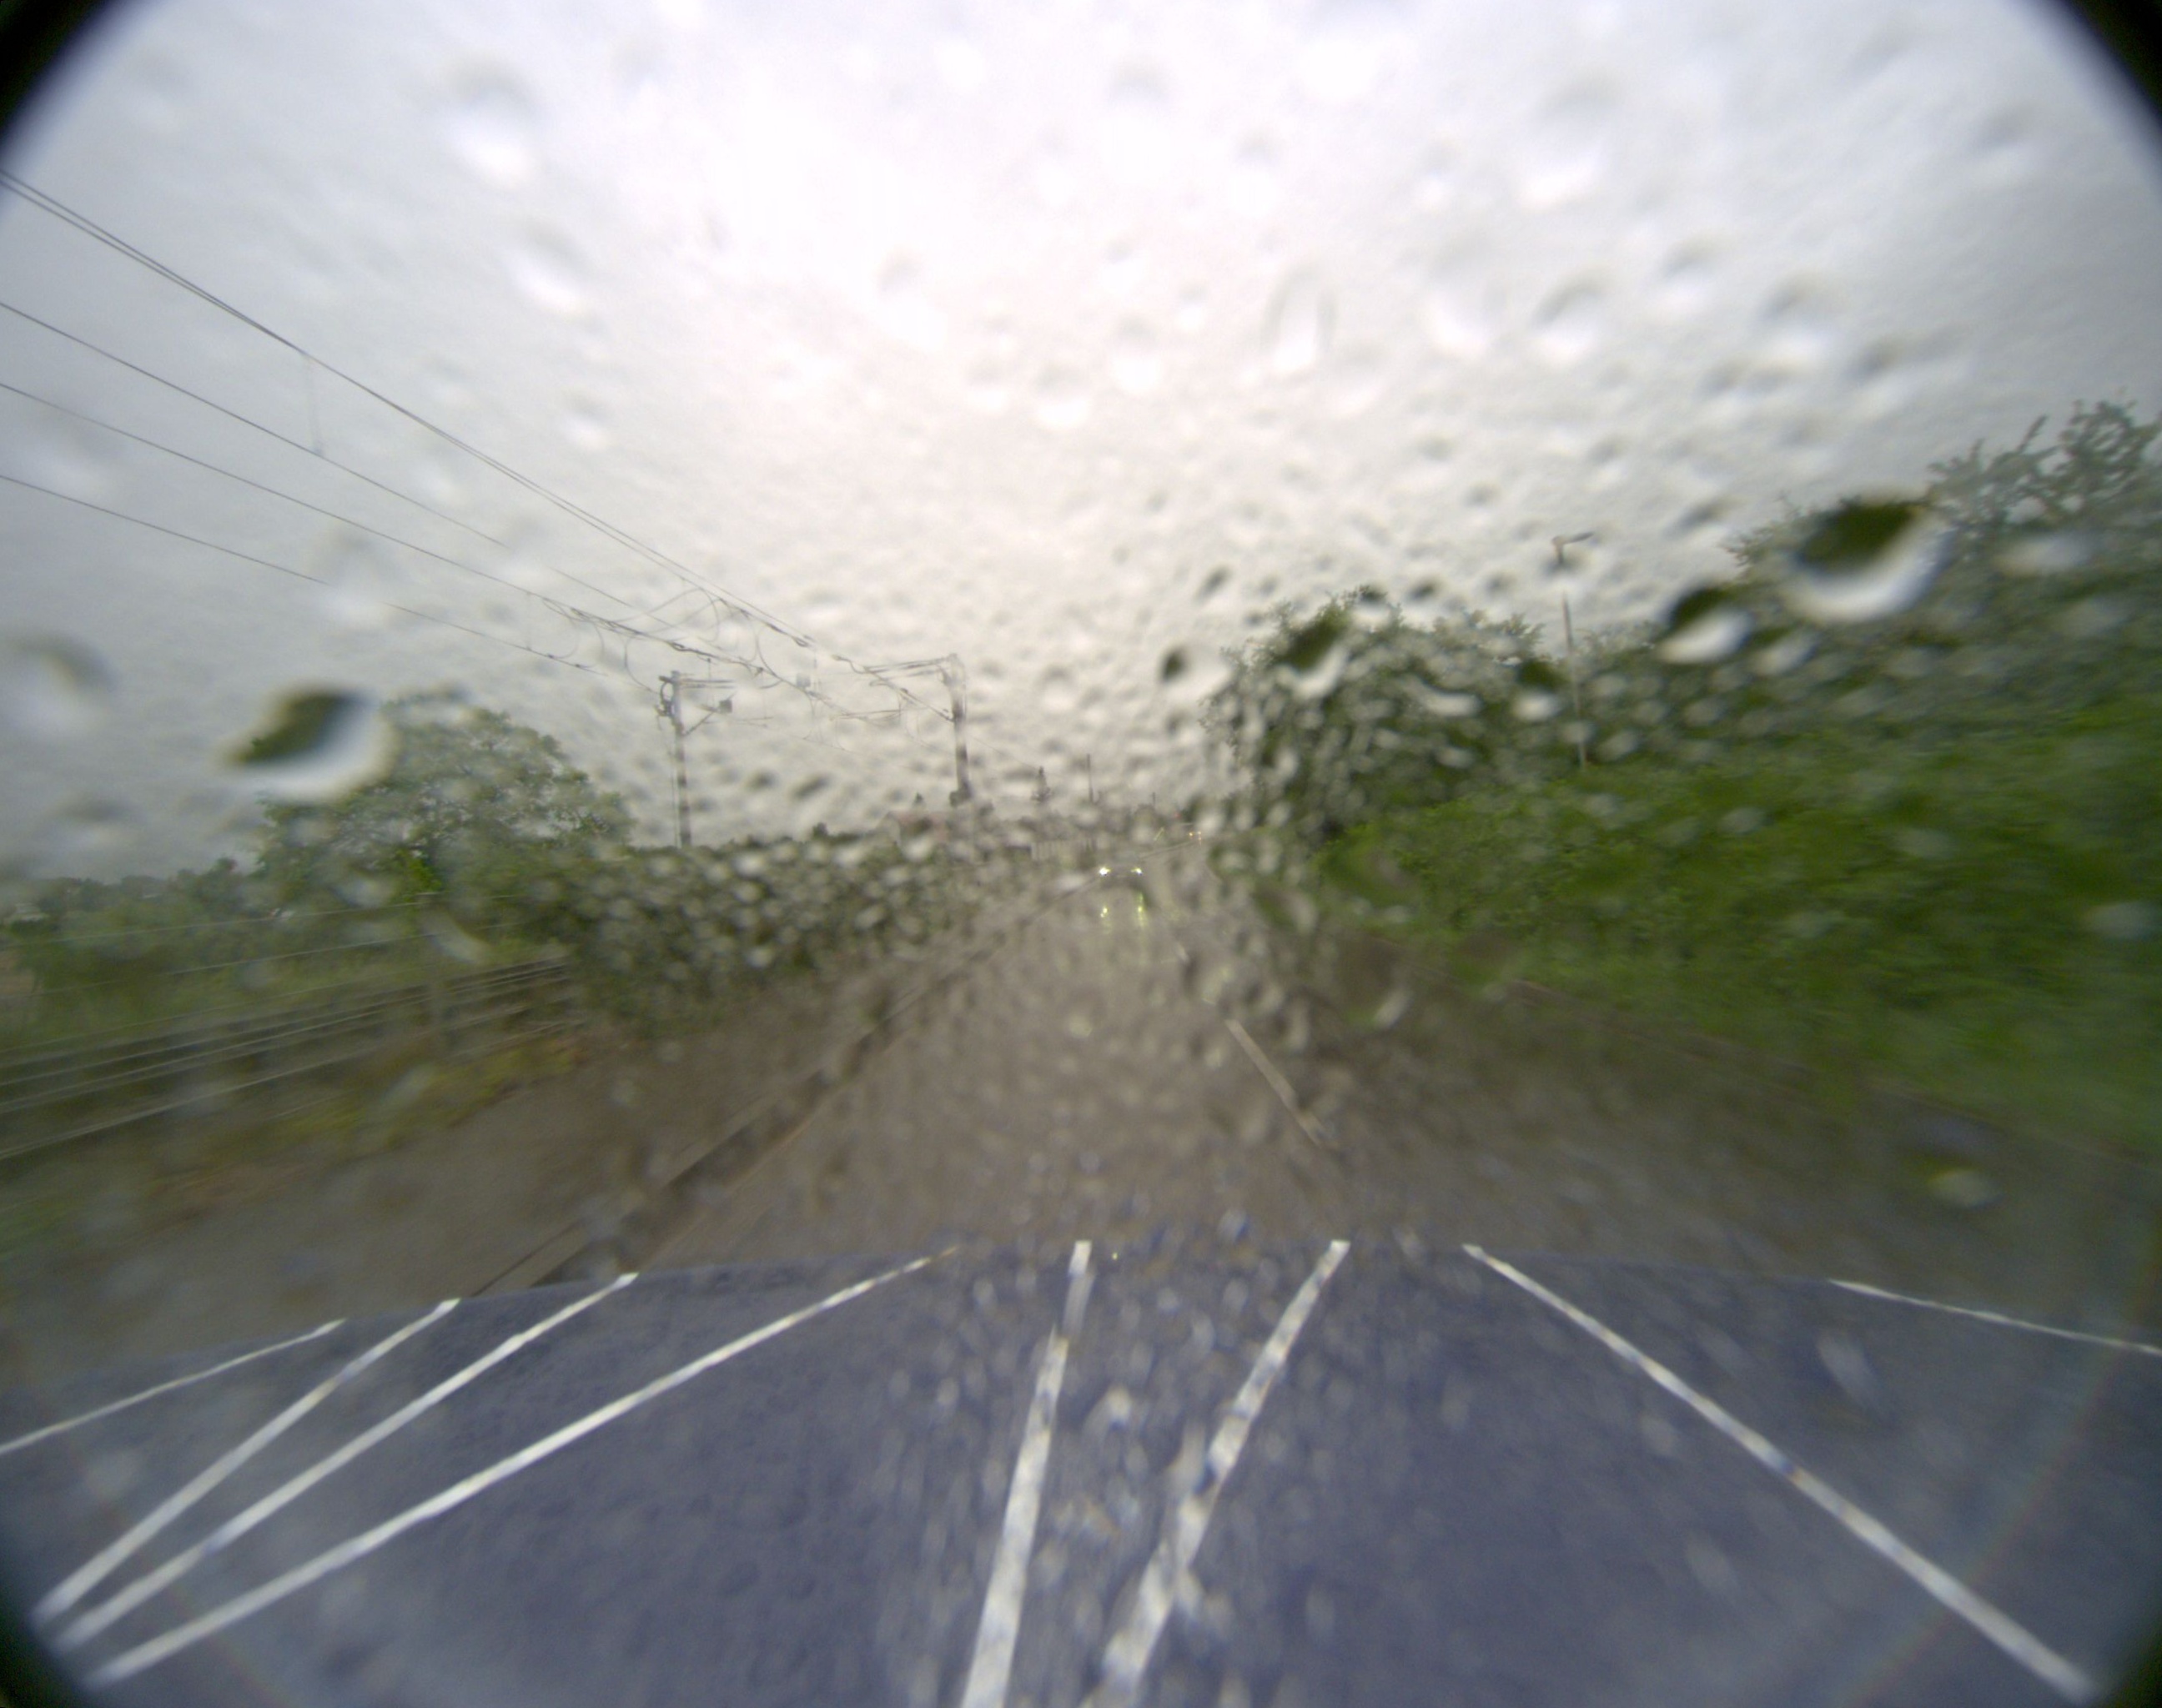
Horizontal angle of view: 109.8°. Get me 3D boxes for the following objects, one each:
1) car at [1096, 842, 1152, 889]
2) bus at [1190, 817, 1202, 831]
[{"bbox_3d":[1.920,0.447,32.720,1.997,1.623,4.000,-4,3,8],"label":"car"},{"bbox_3d":[28.252,-7.334,186.415,2.674,3.060,9.996,-4,3,10],"label":"bus"}]
